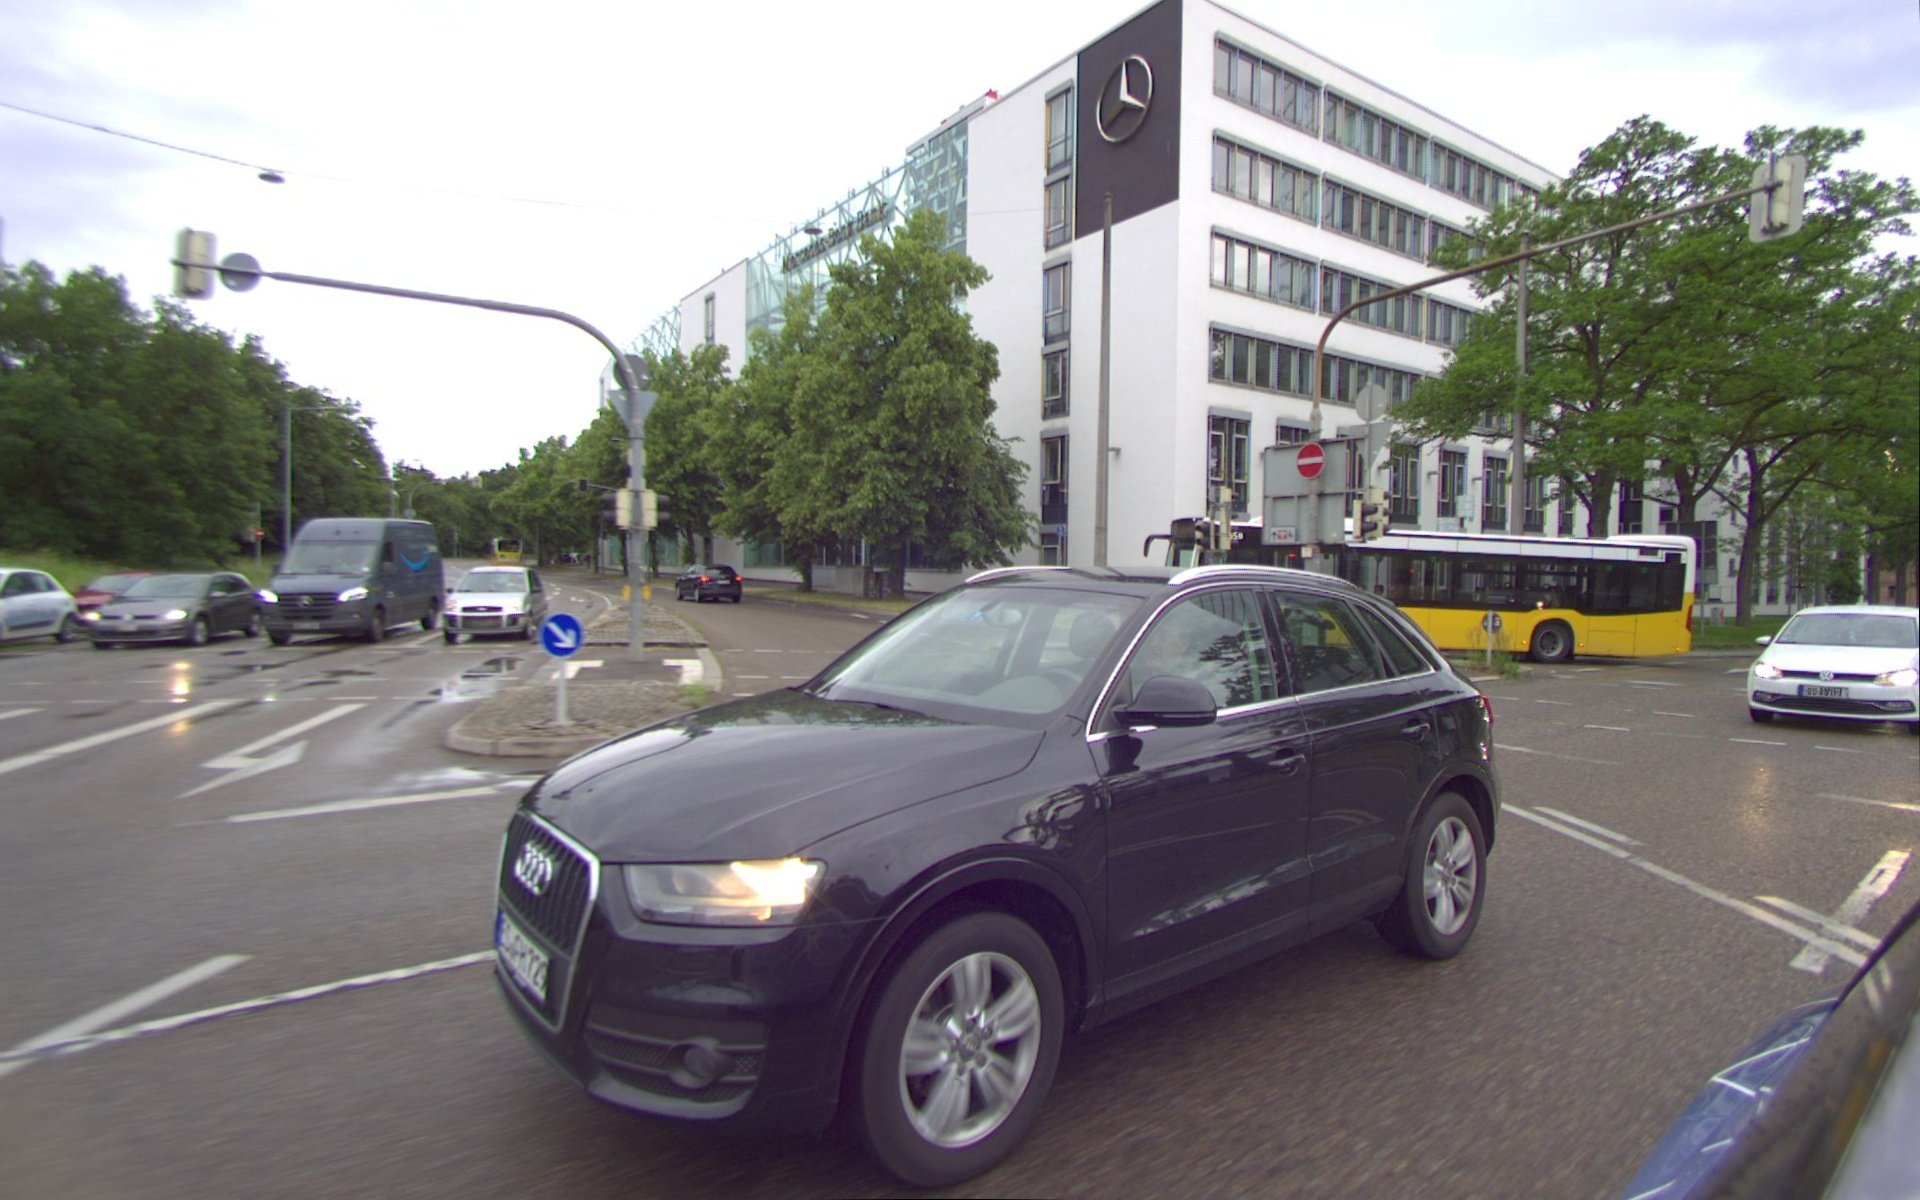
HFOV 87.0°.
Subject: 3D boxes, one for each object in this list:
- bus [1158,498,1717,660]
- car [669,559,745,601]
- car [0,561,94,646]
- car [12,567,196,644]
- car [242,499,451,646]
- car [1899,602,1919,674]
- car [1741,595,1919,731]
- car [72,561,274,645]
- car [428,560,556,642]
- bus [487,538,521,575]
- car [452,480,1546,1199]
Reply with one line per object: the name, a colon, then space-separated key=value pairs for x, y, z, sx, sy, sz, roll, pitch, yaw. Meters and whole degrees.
bus: x=10.905 y=-0.431 z=23.711 sx=11.906 sy=3.192 sz=2.737 roll=2 pitch=-1 yaw=-3
car: x=-10.169 y=-0.850 z=40.504 sx=1.834 sy=1.516 sz=4.157 roll=-1 pitch=4 yaw=-30
car: x=-18.962 y=0.048 z=19.608 sx=1.832 sy=1.583 sz=4.153 roll=0 pitch=1 yaw=-18
car: x=-20.778 y=0.078 z=24.834 sx=1.832 sy=1.695 sz=4.575 roll=0 pitch=1 yaw=-18
car: x=-13.209 y=-0.591 z=22.337 sx=2.038 sy=2.775 sz=6.042 roll=-1 pitch=1 yaw=-12
car: x=20.856 y=0.732 z=20.715 sx=4.255 sy=1.371 sz=1.877 roll=-1 pitch=0 yaw=-40
car: x=11.268 y=0.670 z=12.577 sx=3.744 sy=1.450 sz=1.744 roll=0 pitch=0 yaw=-40
car: x=-15.948 y=0.014 z=20.812 sx=1.693 sy=1.539 sz=4.391 roll=0 pitch=1 yaw=-15
car: x=-10.153 y=-0.027 z=22.252 sx=1.832 sy=1.588 sz=4.071 roll=-2 pitch=1 yaw=-15
bus: x=-46.826 y=-4.431 z=103.776 sx=2.292 sy=3.607 sz=6.501 roll=0 pitch=1 yaw=-32
car: x=0.428 y=0.561 z=3.966 sx=4.038 sy=1.615 sz=1.889 roll=0 pitch=1 yaw=-38
